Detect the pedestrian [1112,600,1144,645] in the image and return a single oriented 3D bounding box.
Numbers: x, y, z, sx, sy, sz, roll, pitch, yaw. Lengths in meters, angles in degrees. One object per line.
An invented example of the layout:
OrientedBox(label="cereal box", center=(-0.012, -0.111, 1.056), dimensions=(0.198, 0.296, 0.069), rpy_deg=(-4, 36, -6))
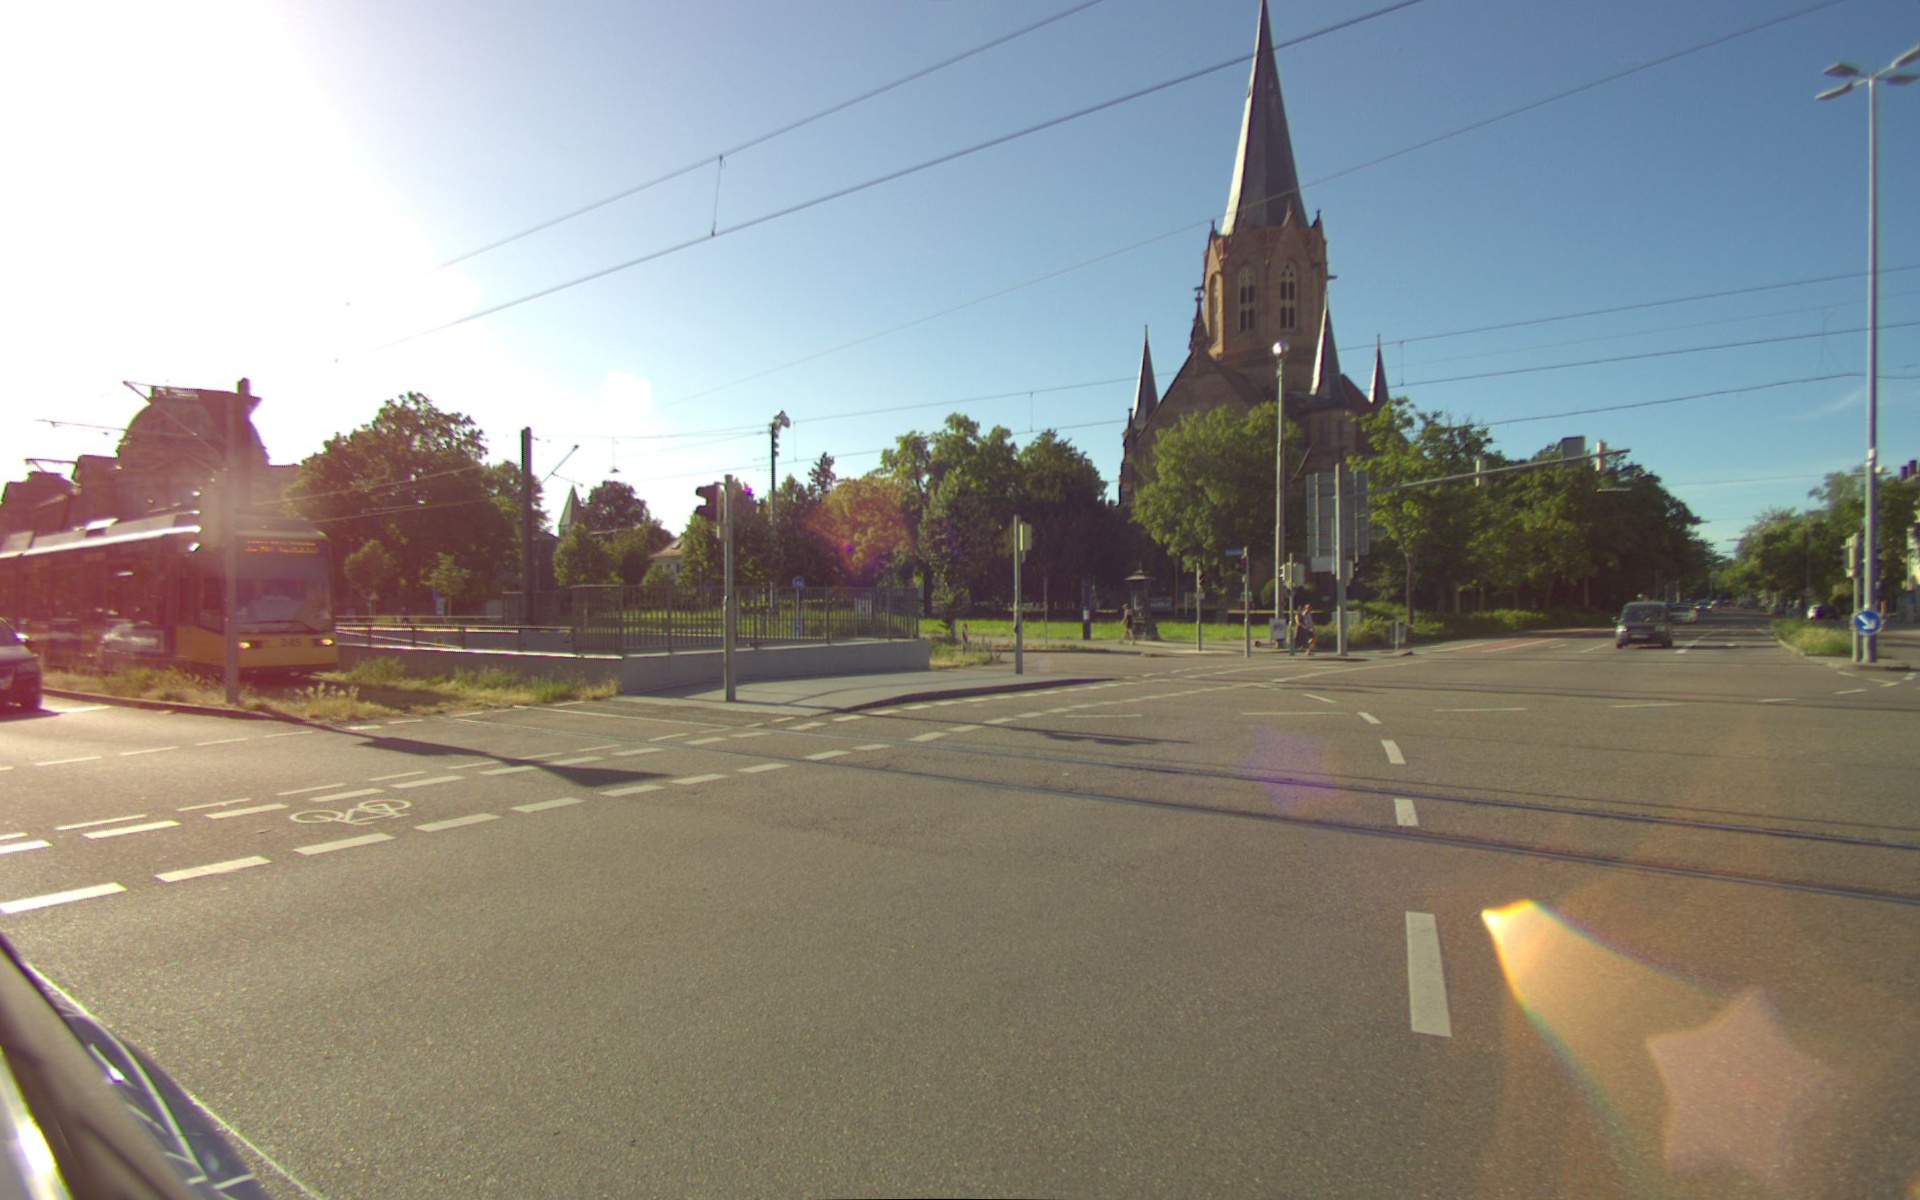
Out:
OrientedBox(label="pedestrian", center=(7.178, 0.935, 43.266), dimensions=(1.112, 1.860, 0.835), rpy_deg=(0, 2, 34))

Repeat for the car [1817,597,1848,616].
OrientedBox(label="car", center=(79.836, 0.599, 92.658), dimensions=(1.834, 1.585, 3.896), rpy_deg=(0, 2, 36))

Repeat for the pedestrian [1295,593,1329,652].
OrientedBox(label="pedestrian", center=(12.465, 0.770, 35.847), dimensions=(0.924, 2.028, 0.868), rpy_deg=(0, 2, 37))

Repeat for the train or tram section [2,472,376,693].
OrientedBox(label="train or tram section", center=(-17.343, -0.230, 22.106), dimensions=(13.160, 3.713, 2.922), rpy_deg=(-1, 1, 37))

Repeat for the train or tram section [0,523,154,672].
OrientedBox(label="train or tram section", center=(-27.911, 0.013, 30.000), dimensions=(13.610, 3.639, 2.922), rpy_deg=(-1, 1, 37))

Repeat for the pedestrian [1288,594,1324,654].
OrientedBox(label="pedestrian", center=(11.989, 0.809, 35.041), dimensions=(0.924, 2.028, 0.868), rpy_deg=(0, 2, 37))

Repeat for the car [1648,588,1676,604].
OrientedBox(label="car", center=(74.582, -0.412, 107.491), dimensions=(1.838, 1.585, 3.888), rpy_deg=(0, 3, 43))

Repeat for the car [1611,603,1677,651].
OrientedBox(label="car", center=(26.298, 0.991, 38.856), dimensions=(1.835, 1.585, 3.894), rpy_deg=(0, 2, 38))

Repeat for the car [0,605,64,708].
OrientedBox(label="car", center=(-16.770, 0.906, 16.763), dimensions=(4.348, 1.548, 1.976), rpy_deg=(0, 2, 36))
